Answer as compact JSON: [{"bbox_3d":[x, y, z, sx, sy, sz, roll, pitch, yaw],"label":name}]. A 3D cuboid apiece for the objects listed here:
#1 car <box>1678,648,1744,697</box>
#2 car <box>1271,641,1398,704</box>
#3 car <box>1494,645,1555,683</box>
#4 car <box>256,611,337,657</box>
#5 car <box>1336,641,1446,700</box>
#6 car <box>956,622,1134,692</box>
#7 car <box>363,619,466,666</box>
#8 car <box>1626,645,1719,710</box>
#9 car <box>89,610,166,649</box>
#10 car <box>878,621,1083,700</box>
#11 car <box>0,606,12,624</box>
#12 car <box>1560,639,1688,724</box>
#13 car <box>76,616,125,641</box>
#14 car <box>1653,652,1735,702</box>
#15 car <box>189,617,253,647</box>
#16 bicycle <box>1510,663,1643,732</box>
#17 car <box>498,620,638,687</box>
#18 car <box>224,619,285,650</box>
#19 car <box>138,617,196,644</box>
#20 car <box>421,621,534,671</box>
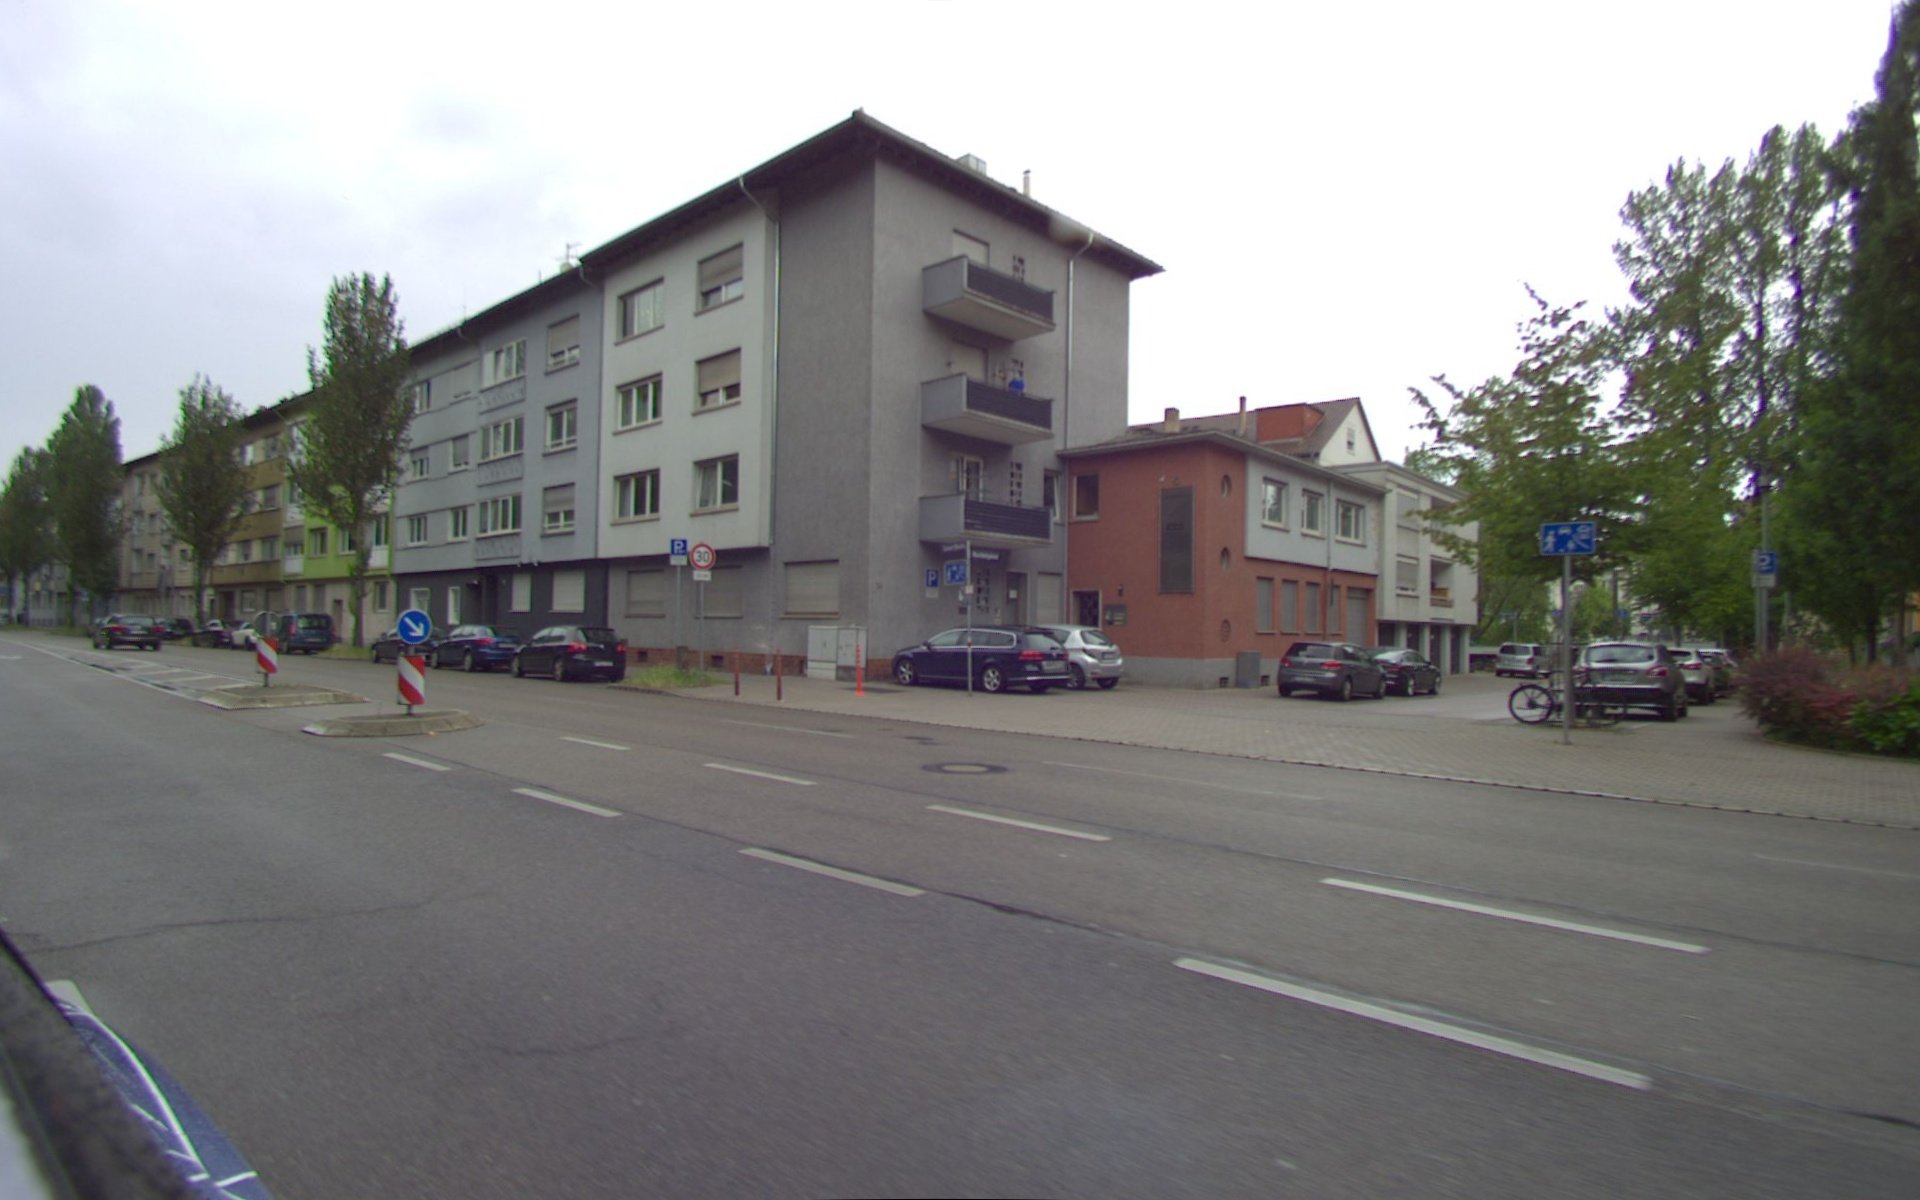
[{"bbox_3d":[28.572,2.733,38.447,1.784,1.728,3.654,-1,-3,40],"label":"car"},{"bbox_3d":[9.795,1.869,26.309,1.904,1.423,3.947,1,-2,39],"label":"car"},{"bbox_3d":[26.872,3.027,48.161,1.850,1.674,3.799,0,-3,40],"label":"car"},{"bbox_3d":[-28.787,1.427,43.870,4.314,1.884,1.880,0,-2,42],"label":"car"},{"bbox_3d":[12.826,2.059,30.017,1.924,1.497,3.947,3,-1,39],"label":"car"},{"bbox_3d":[2.036,1.371,25.022,4.228,1.537,1.711,0,-3,42],"label":"car"},{"bbox_3d":[-18.822,1.446,34.844,4.314,1.492,1.703,-1,-4,42],"label":"car"},{"bbox_3d":[20.333,2.169,28.834,1.850,1.674,3.799,0,-3,40],"label":"car"},{"bbox_3d":[-34.644,1.231,42.081,4.289,1.527,1.792,-1,-4,42],"label":"car"},{"bbox_3d":[0.381,1.291,22.997,4.634,1.497,1.831,0,0,42],"label":"car"},{"bbox_3d":[-88.996,1.346,93.102,4.165,1.579,1.846,-1,-3,36],"label":"car"},{"bbox_3d":[14.098,1.671,21.400,1.900,1.604,3.948,-3,-4,38],"label":"car"},{"bbox_3d":[-57.725,1.903,67.965,4.171,1.612,1.844,-1,-3,41],"label":"car"},{"bbox_3d":[24.086,2.491,33.161,1.998,1.486,3.948,-1,-3,38],"label":"car"},{"bbox_3d":[-36.828,1.582,50.375,4.249,1.356,1.527,0,-4,40],"label":"car"},{"bbox_3d":[10.570,1.649,17.392,1.931,1.066,0.526,0,-3,34],"label":"bicycle"},{"bbox_3d":[-10.546,1.357,27.080,4.247,1.556,1.827,0,0,43],"label":"car"},{"bbox_3d":[-33.045,1.607,47.396,3.446,1.387,1.527,-2,-4,42],"label":"car"},{"bbox_3d":[-45.819,1.744,58.439,3.998,1.524,1.844,-1,-3,41],"label":"car"},{"bbox_3d":[-14.792,1.384,30.939,3.925,1.394,1.703,-1,-3,42],"label":"car"}]
